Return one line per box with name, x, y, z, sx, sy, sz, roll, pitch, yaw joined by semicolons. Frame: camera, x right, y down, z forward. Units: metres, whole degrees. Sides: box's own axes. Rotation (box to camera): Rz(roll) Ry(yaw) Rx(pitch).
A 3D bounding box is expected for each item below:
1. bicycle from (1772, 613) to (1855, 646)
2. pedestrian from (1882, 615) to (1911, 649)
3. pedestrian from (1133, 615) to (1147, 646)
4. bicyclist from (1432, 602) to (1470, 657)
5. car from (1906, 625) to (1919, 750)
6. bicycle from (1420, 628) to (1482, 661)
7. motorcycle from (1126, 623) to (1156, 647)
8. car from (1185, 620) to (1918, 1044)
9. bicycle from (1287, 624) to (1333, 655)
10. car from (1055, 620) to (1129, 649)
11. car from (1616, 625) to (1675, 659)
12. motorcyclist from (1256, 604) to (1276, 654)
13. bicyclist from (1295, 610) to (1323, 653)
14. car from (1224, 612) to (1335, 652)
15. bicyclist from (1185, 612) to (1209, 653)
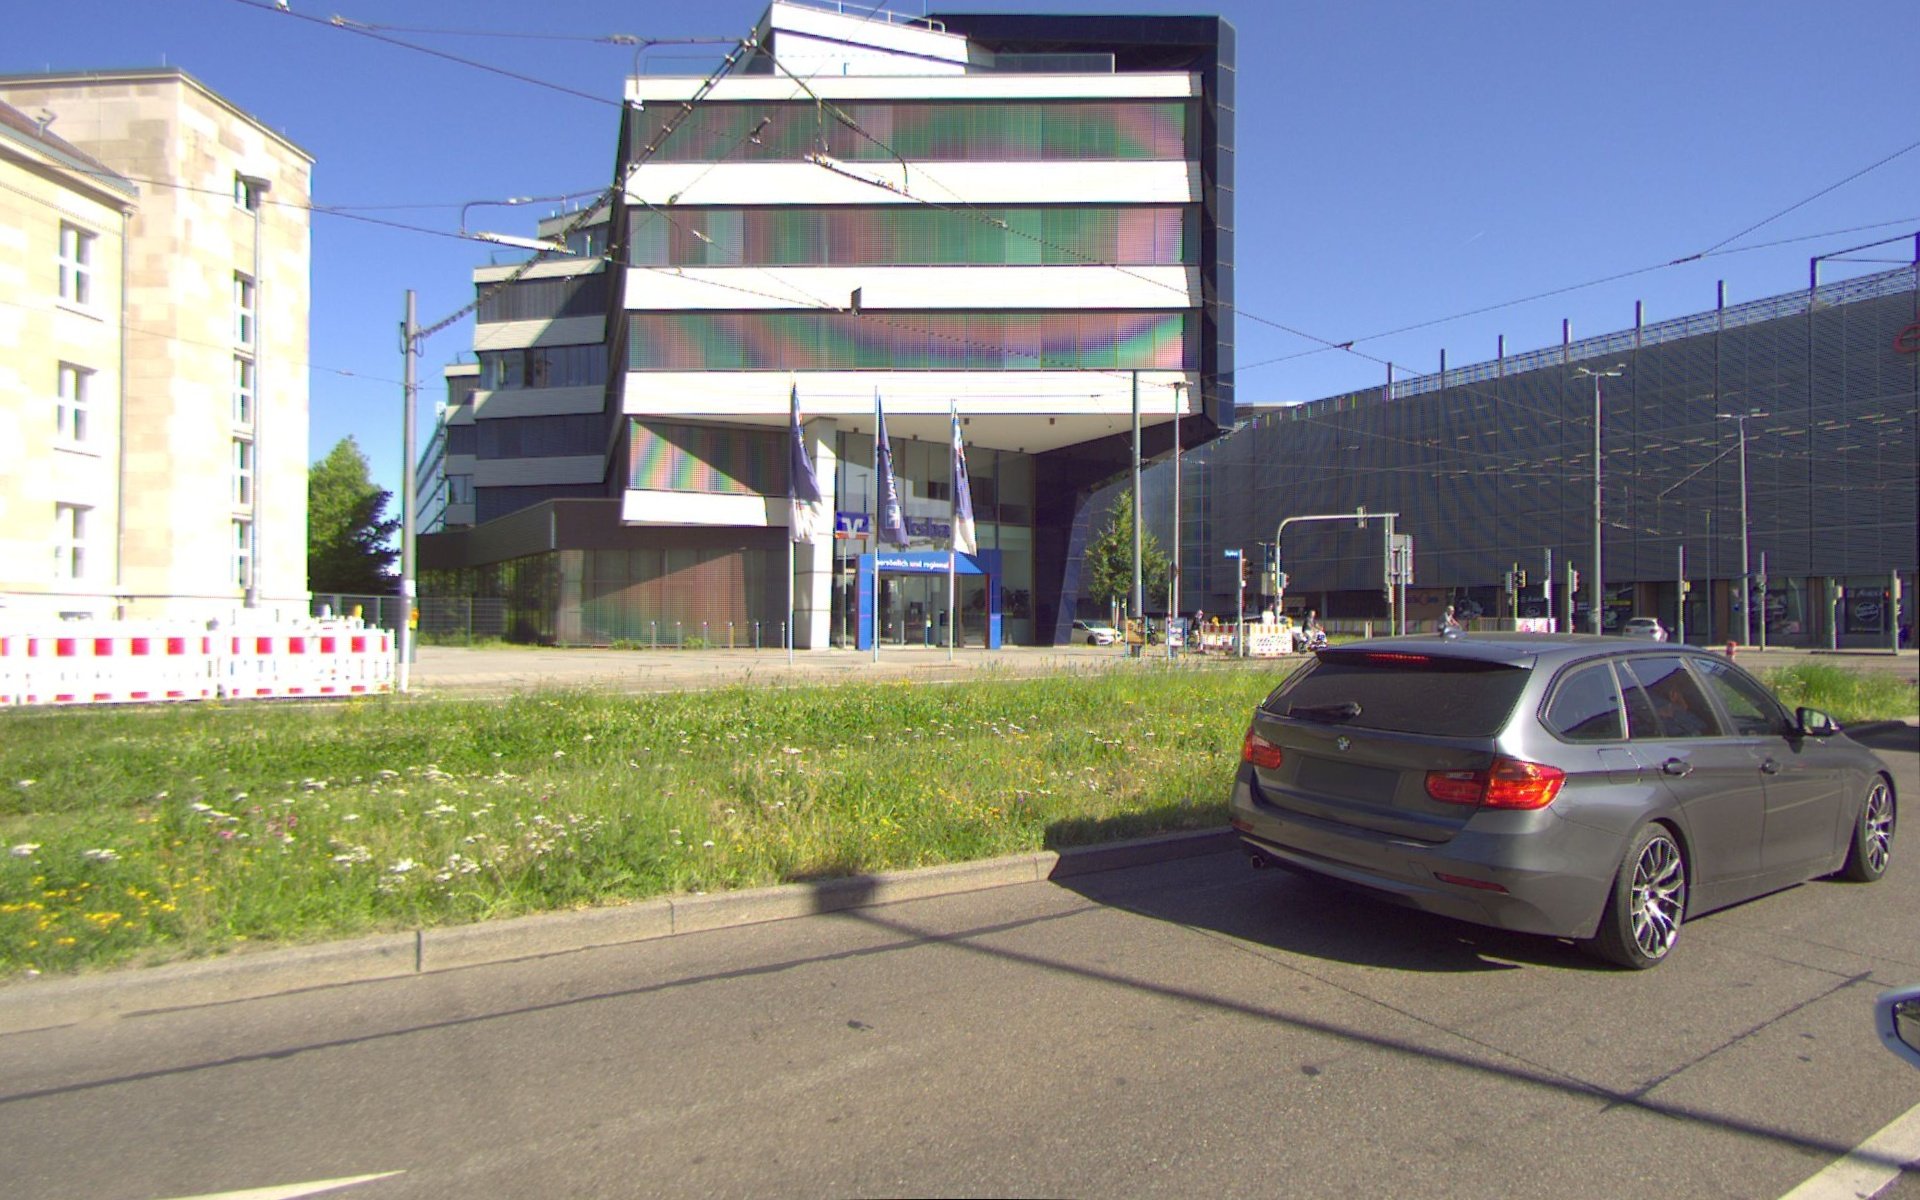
bicycle;55.838;1.873;65.762;1.316;2.040;3.963;0;0;-33
pedestrian;53.344;1.824;57.213;0.804;1.893;0.906;0;-1;9
pedestrian;9.951;1.686;55.473;0.675;1.690;0.368;0;-1;24
bicyclist;17.262;1.024;35.307;0.845;1.884;0.896;1;-1;-34
car;13.084;1.069;12.145;3.744;1.442;1.621;1;2;-35
bicycle;17.279;1.559;35.384;0.844;1.131;1.818;1;-1;-34
motorcycle;9.988;1.935;55.429;1.583;1.315;0.600;0;-1;25
car;3.455;0.881;5.562;4.420;1.442;1.723;1;2;-34
bicycle;13.828;1.544;39.694;0.727;1.122;1.564;1;1;-37
car;7.173;1.868;54.917;1.892;1.483;4.053;1;-1;-33
car;38.484;2.341;56.363;3.968;1.818;1.737;1;0;-40
motorcyclist;12.714;1.197;41.753;0.492;2.040;0.624;0;-1;-34
bicyclist;13.784;1.229;39.686;0.683;1.670;0.777;1;-1;-36
car;14.019;1.381;44.280;1.822;1.657;4.457;-1;0;-36
bicyclist;10.628;1.466;45.107;0.756;1.812;0.757;1;-1;-38
